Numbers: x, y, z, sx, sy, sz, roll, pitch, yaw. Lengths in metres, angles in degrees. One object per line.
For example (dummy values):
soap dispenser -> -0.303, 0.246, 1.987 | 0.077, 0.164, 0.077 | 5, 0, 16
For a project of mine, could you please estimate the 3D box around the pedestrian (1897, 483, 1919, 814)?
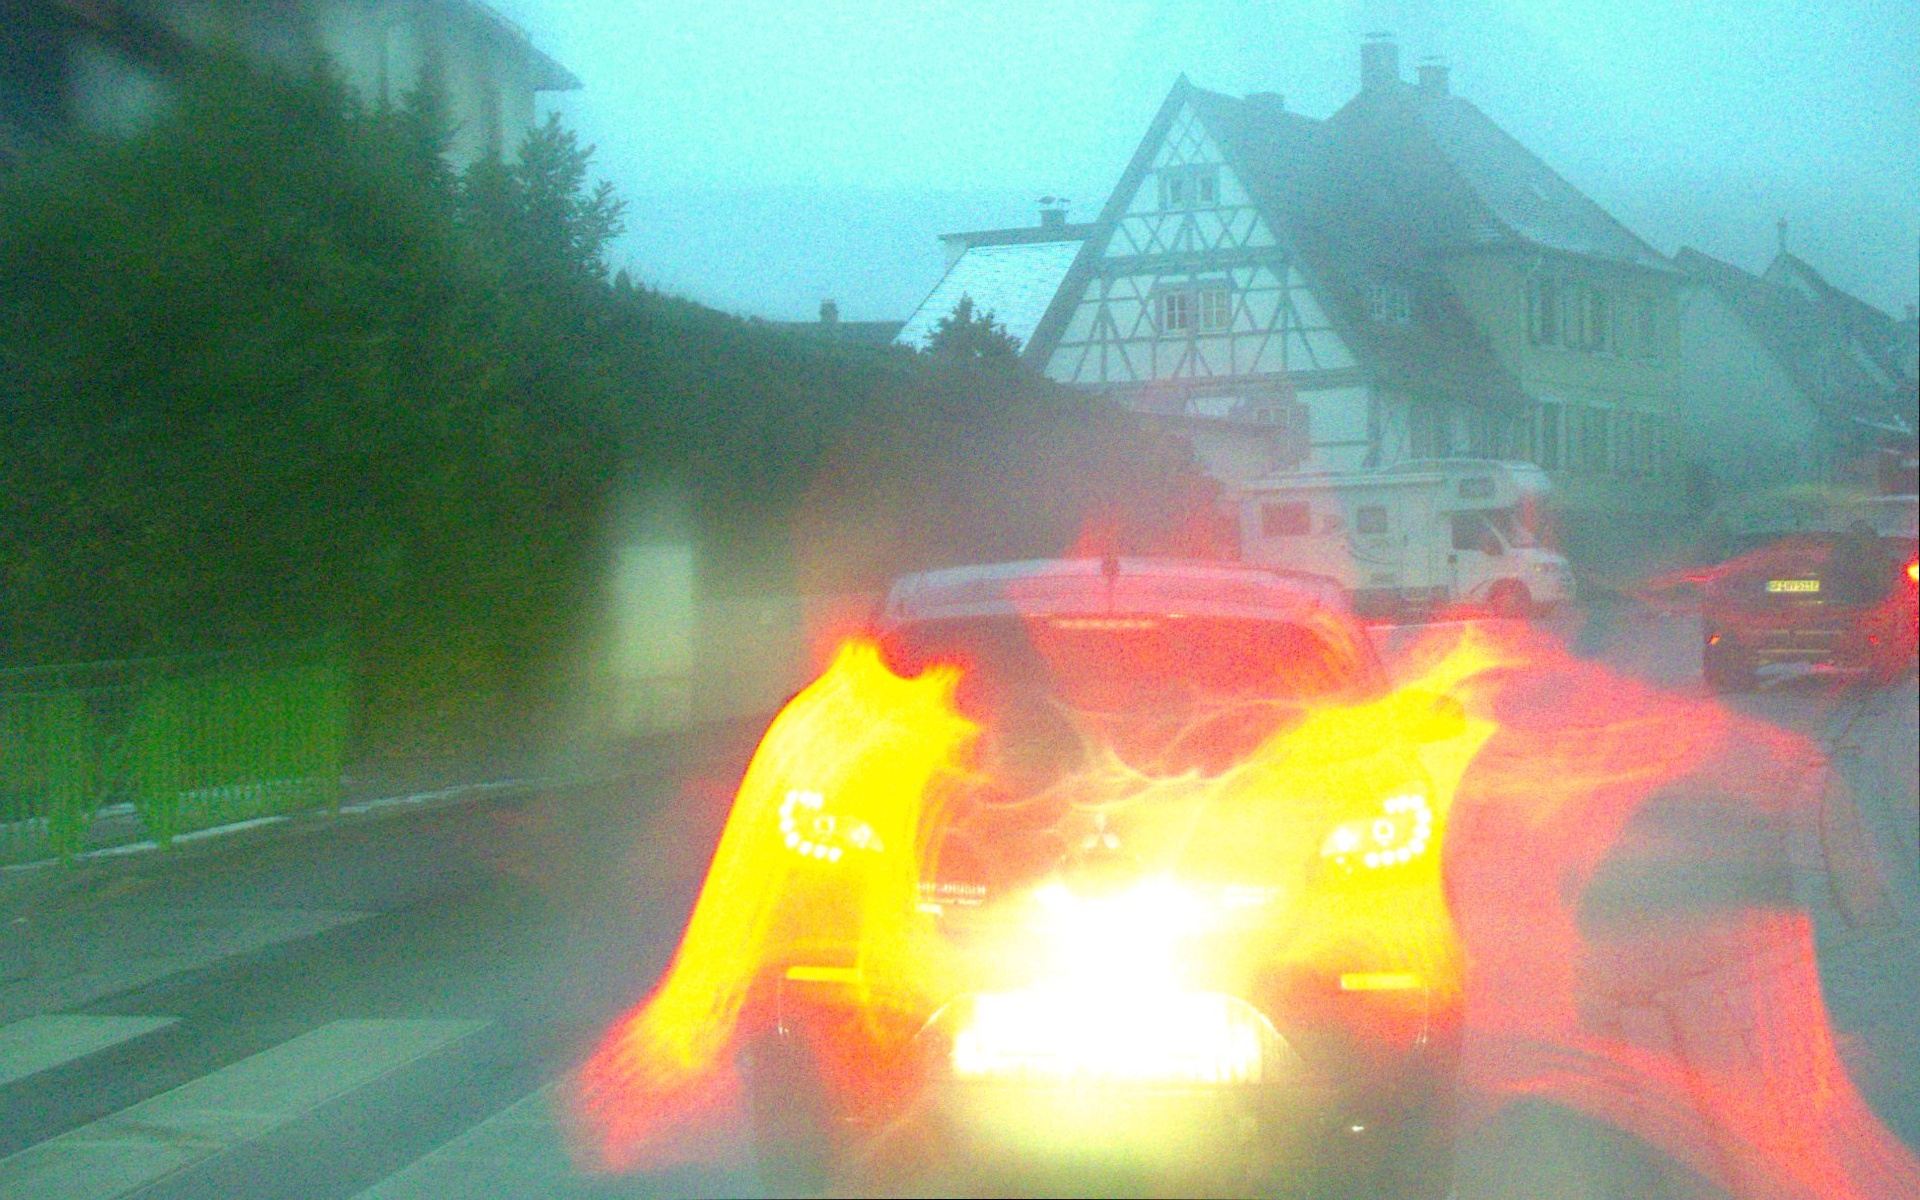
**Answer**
pedestrian -> 5.339, 0.208, 17.666 | 0.868, 1.661, 0.991 | -4, 0, 18

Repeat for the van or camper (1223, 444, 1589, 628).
van or camper -> 8.176, -1.150, 63.172 | 6.068, 2.945, 2.403 | -4, 0, 26

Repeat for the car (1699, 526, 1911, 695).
car -> 8.790, 0.061, 35.540 | 1.849, 1.631, 4.332 | 1, 1, 17

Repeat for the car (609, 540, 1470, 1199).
car -> 0.267, 0.587, 9.195 | 1.795, 1.471, 4.000 | 0, 1, 3
